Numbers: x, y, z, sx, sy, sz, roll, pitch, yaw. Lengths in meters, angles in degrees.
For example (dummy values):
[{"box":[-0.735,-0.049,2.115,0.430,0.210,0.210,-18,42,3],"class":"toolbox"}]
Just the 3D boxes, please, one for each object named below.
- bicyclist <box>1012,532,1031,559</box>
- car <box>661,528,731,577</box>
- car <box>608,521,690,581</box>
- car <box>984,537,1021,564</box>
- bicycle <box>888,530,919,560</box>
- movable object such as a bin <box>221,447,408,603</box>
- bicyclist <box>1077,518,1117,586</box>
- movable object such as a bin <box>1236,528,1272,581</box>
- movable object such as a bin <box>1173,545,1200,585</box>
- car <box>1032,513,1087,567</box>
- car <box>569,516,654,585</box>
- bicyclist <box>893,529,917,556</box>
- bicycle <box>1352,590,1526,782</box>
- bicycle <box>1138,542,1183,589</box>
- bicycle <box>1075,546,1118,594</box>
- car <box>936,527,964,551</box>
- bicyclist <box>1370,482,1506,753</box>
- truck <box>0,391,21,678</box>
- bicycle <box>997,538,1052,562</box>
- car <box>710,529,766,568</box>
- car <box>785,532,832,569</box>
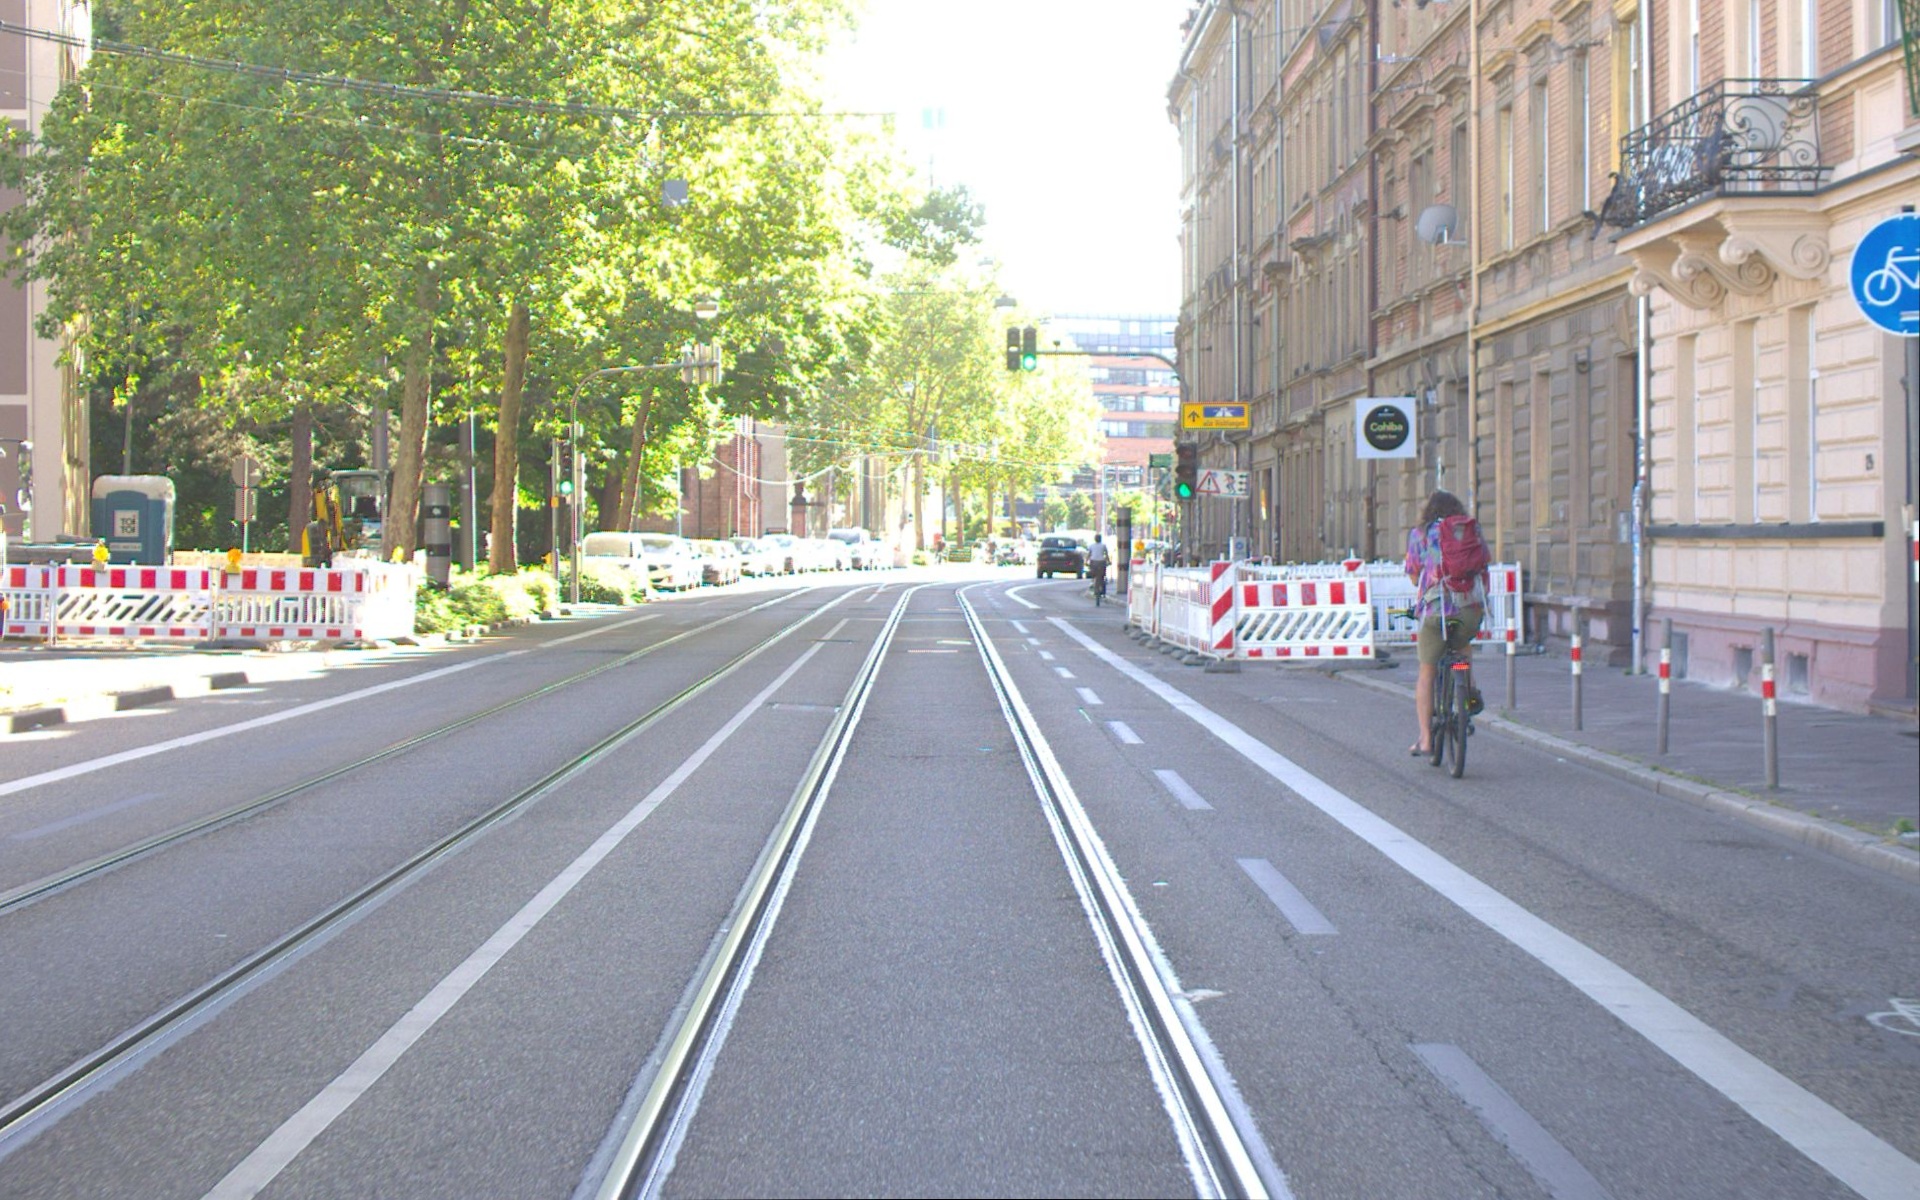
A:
[{"box":[3.380,-2.999,188.830,0.899,1.423,1.052,2,0,8],"class":"bicyclist"},{"box":[-8.603,-1.541,112.288,1.748,1.504,4.043,2,1,2],"class":"car"},{"box":[-8.724,-1.358,96.725,1.748,1.602,4.043,2,1,2],"class":"car"},{"box":[2.409,-2.778,193.985,1.748,1.417,4.043,2,1,4],"class":"car"},{"box":[-3.073,-2.950,186.147,1.234,1.567,2.896,2,1,7],"class":"bicycle"},{"box":[-11.646,-1.356,62.458,2.495,2.636,5.990,2,1,-3],"class":"movable object such as a bin"},{"box":[3.218,-1.123,80.737,0.838,1.552,0.965,2,0,-1],"class":"bicyclist"},{"box":[6.253,-0.973,73.160,0.620,1.106,0.781,2,0,-3],"class":"movable object such as a bin"},{"box":[6.029,-0.940,91.458,0.673,1.032,0.813,0,2,0],"class":"movable object such as a bin"},{"box":[3.839,-2.310,133.083,1.993,2.007,4.000,2,1,0],"class":"car"},{"box":[-8.714,-1.226,86.225,1.545,1.653,3.762,2,1,2],"class":"car"},{"box":[-2.961,-3.118,186.096,1.078,1.423,1.146,2,1,8],"class":"bicyclist"},{"box":[3.059,0.518,22.193,0.681,1.110,2.707,2,1,-1],"class":"bicycle"},{"box":[6.574,-1.119,112.511,0.971,1.510,3.244,2,1,11],"class":"bicycle"},{"box":[3.199,-0.697,80.694,0.856,1.084,2.487,2,1,0],"class":"bicycle"},{"box":[-0.722,-4.435,249.972,1.748,1.619,4.043,2,1,4],"class":"car"},{"box":[3.074,0.103,22.191,0.667,1.691,1.043,2,0,-1],"class":"bicyclist"},{"box":[-10.537,-0.640,31.345,2.537,2.820,6.377,2,1,-4],"class":"truck"},{"box":[3.545,-2.768,188.794,2.889,1.227,0.883,2,1,11],"class":"bicycle"},{"box":[-8.724,-2.017,135.234,1.748,1.490,4.043,2,1,2],"class":"car"},{"box":[-6.845,-2.230,155.809,1.748,1.581,4.043,2,1,2],"class":"car"}]
